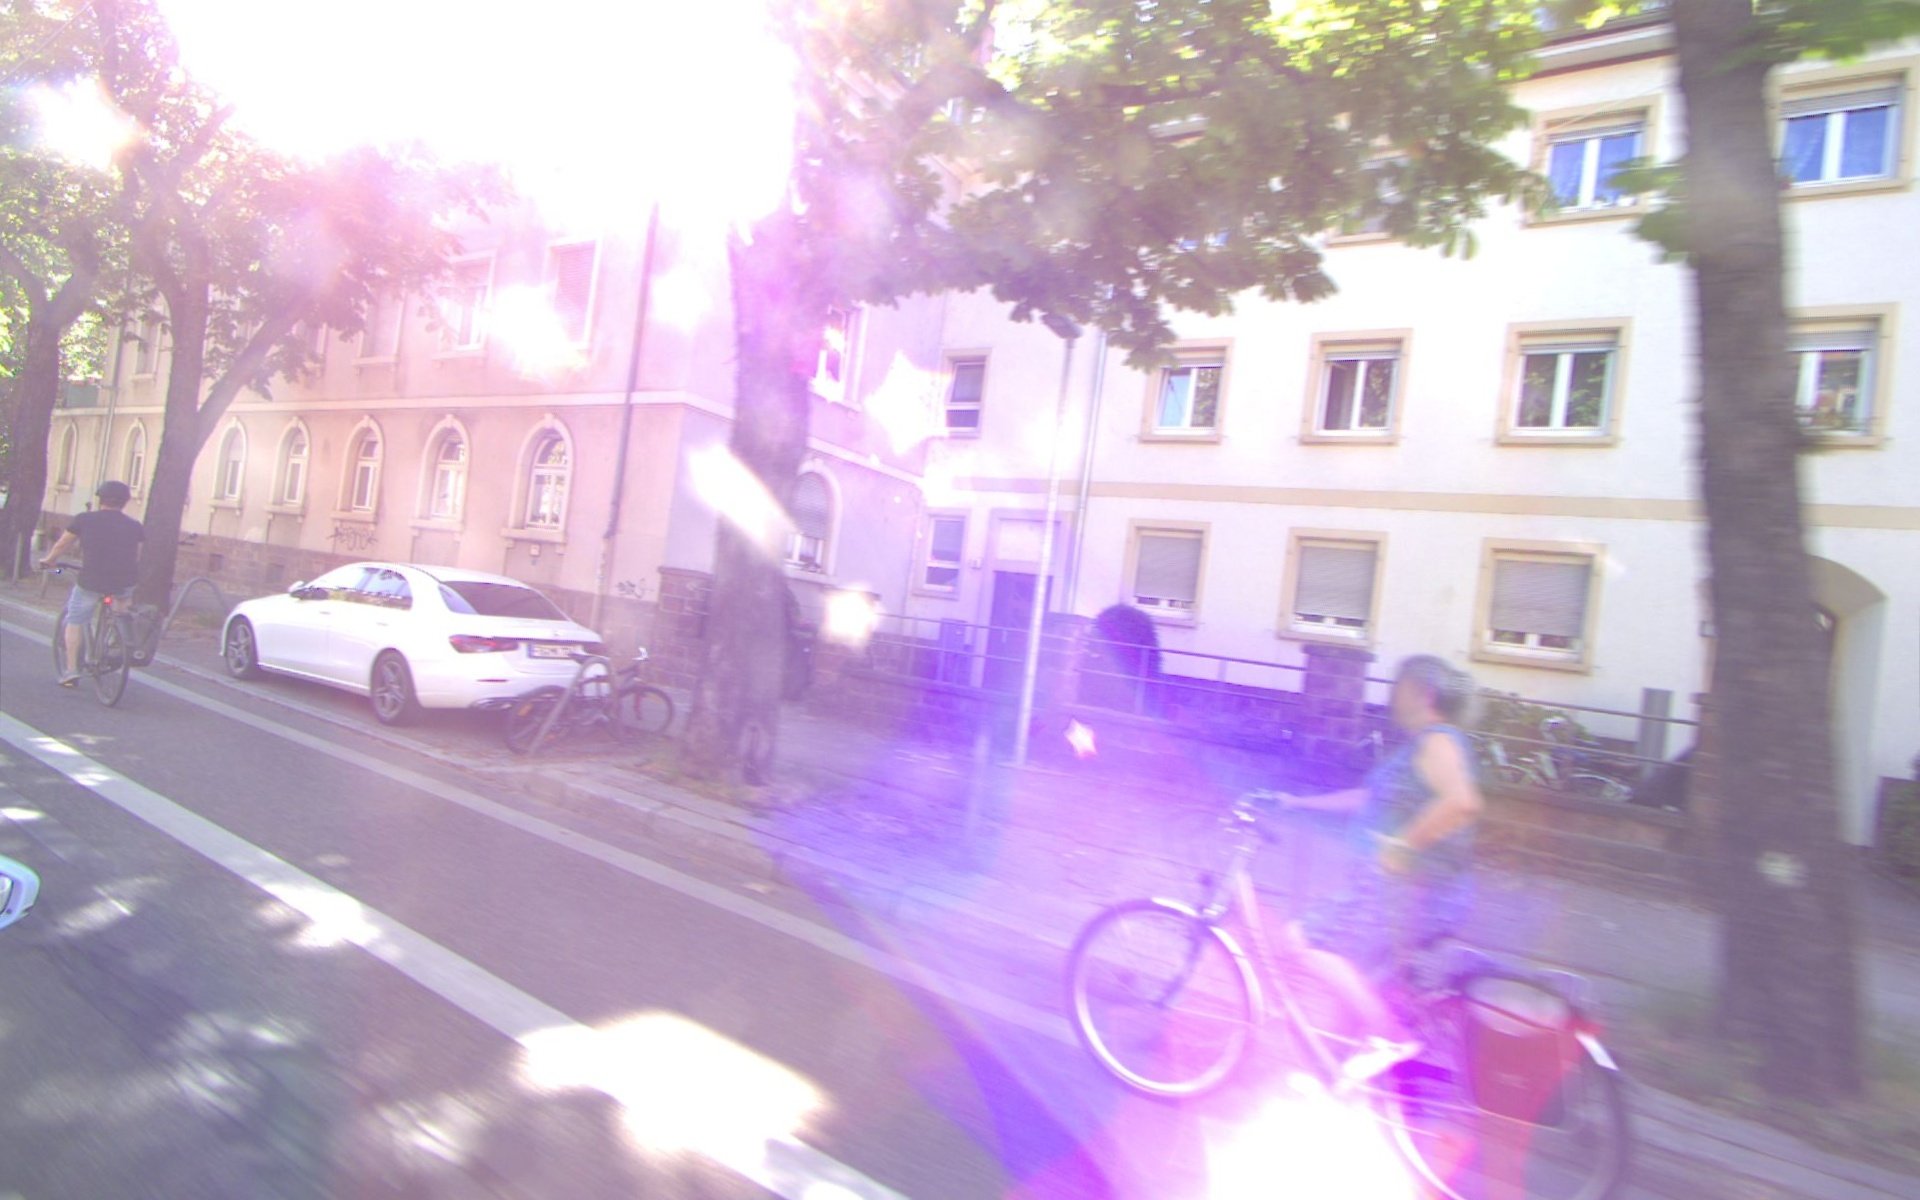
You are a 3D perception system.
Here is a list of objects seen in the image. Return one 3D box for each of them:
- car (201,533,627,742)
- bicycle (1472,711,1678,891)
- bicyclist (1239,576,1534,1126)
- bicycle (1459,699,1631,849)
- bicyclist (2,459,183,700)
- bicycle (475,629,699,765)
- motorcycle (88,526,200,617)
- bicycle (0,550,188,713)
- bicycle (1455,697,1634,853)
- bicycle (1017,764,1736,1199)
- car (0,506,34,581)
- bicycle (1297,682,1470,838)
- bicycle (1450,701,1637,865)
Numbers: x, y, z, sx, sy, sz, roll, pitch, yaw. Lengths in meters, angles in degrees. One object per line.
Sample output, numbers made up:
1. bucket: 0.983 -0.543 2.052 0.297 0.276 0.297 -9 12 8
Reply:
1. car: -5.721 0.307 10.357 4.586 1.453 1.631 7 -1 31
2. bicycle: 5.219 1.671 8.591 1.351 1.237 0.435 7 -2 34
3. bicyclist: 1.389 0.729 3.232 0.606 1.484 0.636 7 -2 34
4. bicycle: 5.902 1.723 10.181 1.351 1.237 0.435 7 -2 34
5. bicyclist: -7.257 -0.166 8.426 0.823 1.869 0.729 7 -2 33
6. bicycle: -3.268 0.838 8.986 0.610 1.032 1.793 7 0 33
7. motorcycle: -13.404 -0.484 16.510 2.149 1.258 0.710 7 0 33
8. bicycle: -7.341 0.252 8.481 1.691 1.125 0.693 7 -2 34
9. bicycle: 5.653 1.664 9.769 1.351 1.237 0.435 7 -2 34
10. bicycle: 1.241 1.274 3.280 1.886 1.125 0.693 7 -2 34
11. car: -20.834 -1.349 20.602 3.935 1.437 1.750 7 -1 33
12. bicycle: 4.061 1.505 9.684 1.351 1.237 0.435 7 -2 34
13. bicycle: 5.392 1.659 9.342 1.351 1.237 0.435 7 -2 34
